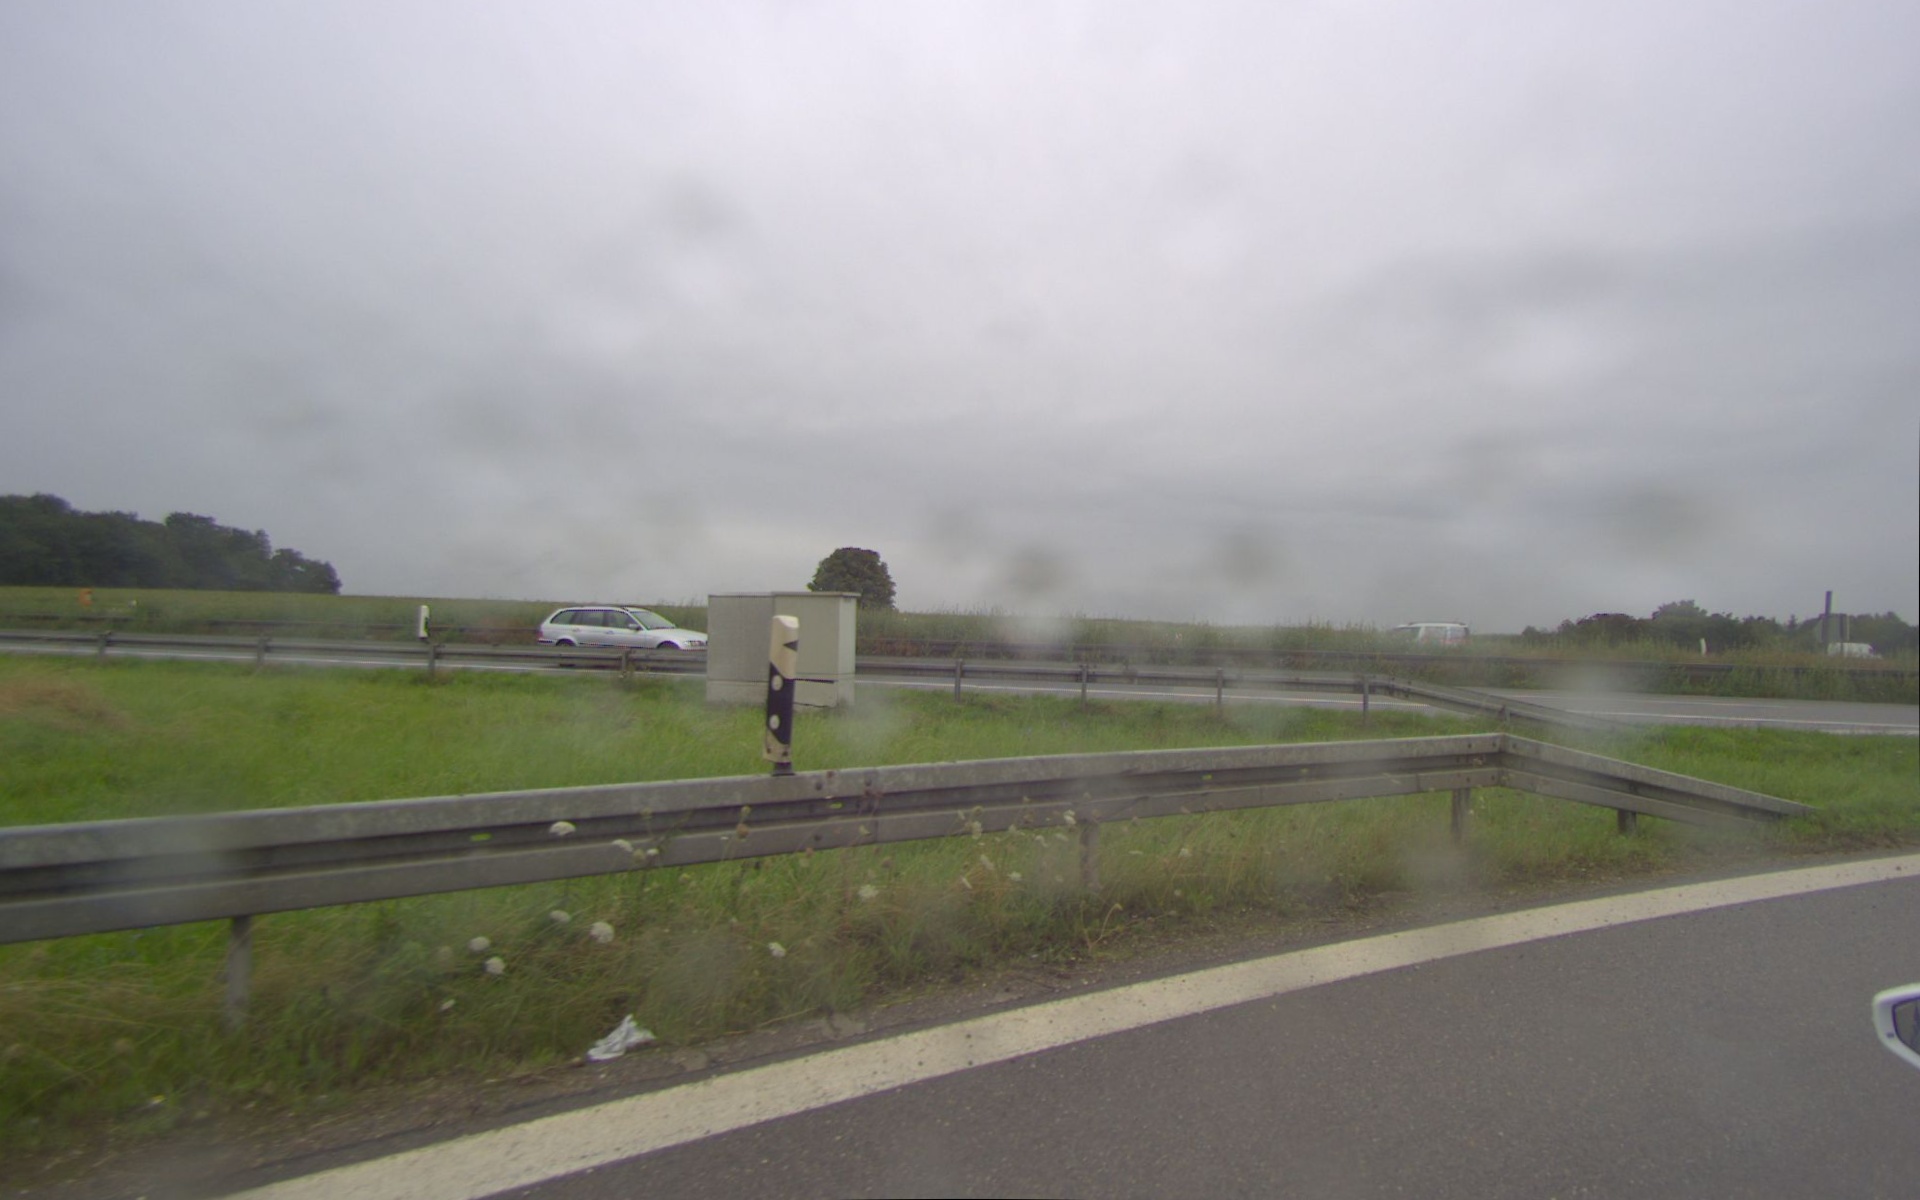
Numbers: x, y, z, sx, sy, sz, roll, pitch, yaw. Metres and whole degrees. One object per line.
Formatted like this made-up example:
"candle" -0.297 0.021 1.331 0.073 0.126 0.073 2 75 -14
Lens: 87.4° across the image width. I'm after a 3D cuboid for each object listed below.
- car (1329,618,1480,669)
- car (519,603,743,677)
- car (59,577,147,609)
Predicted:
"car" 15.189 1.466 34.610 4.440 1.560 2.112 1 0 15
"car" -7.730 0.921 23.714 4.699 1.507 1.881 1 -2 14
"car" -48.585 -0.388 56.974 3.919 1.760 1.736 1 0 12
